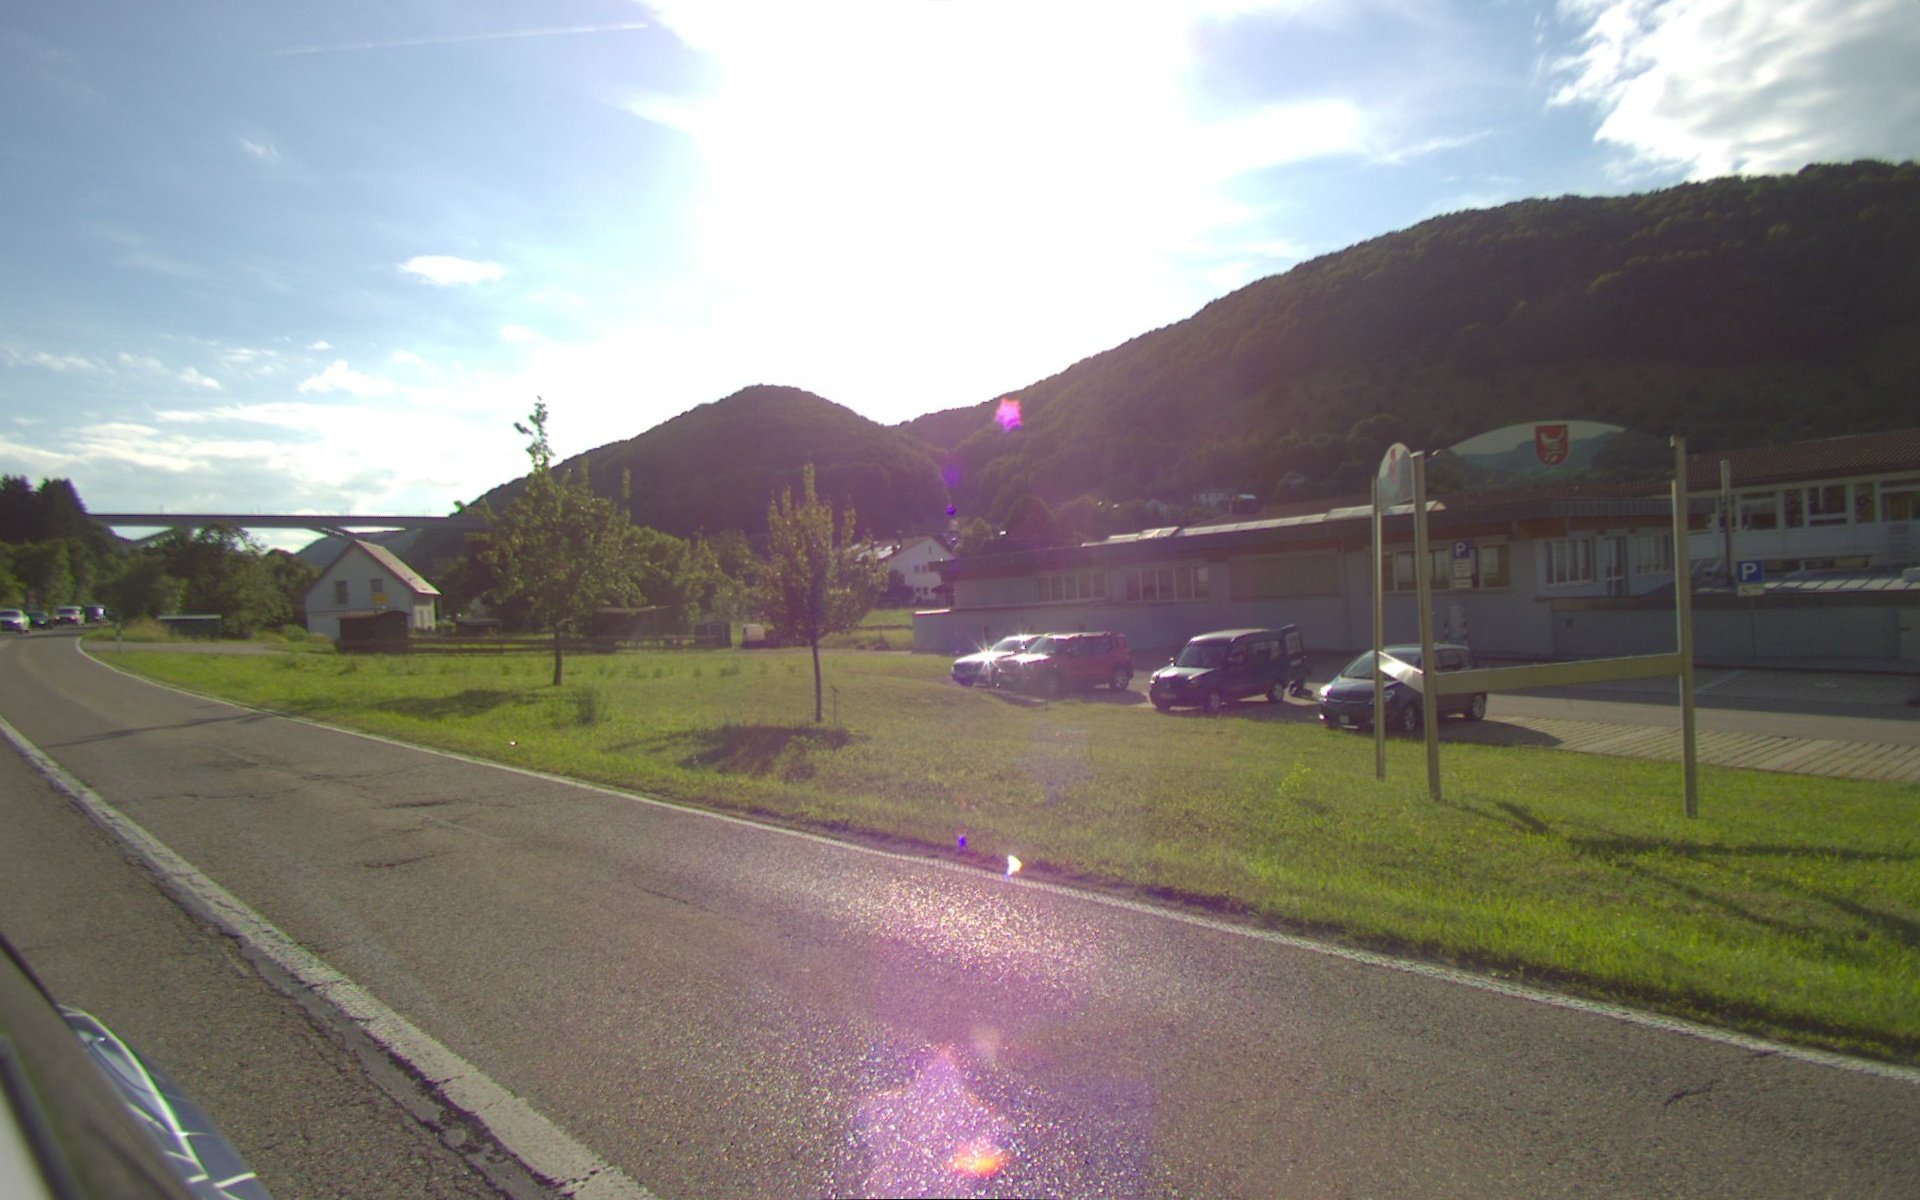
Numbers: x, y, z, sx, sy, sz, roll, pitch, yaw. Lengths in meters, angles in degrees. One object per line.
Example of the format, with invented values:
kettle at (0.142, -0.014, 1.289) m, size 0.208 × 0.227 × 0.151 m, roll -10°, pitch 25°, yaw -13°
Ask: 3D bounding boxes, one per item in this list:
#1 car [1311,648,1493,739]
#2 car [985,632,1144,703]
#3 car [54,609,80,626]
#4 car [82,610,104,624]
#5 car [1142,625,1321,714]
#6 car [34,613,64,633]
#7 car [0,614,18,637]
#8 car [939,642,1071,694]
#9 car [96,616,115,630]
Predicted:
car at (8.864, 1.788, 20.173) m, size 3.957 × 1.463 × 1.687 m, roll -1°, pitch -2°, yaw -40°
car at (2.993, 1.839, 28.680) m, size 4.263 × 1.682 × 1.853 m, roll -1°, pitch 0°, yaw -34°
car at (-82.296, 1.625, 93.256) m, size 1.607 × 1.490 × 3.683 m, roll -1°, pitch 0°, yaw -43°
car at (-90.591, 1.764, 105.774) m, size 1.605 × 1.490 × 3.686 m, roll -1°, pitch 0°, yaw -39°
car at (6.686, 1.592, 24.629) m, size 4.929 × 1.807 × 1.687 m, roll -1°, pitch 0°, yaw -40°
car at (-72.395, 1.832, 80.444) m, size 1.605 × 1.490 × 3.686 m, roll -1°, pitch 0°, yaw -39°
car at (-63.583, 1.694, 66.971) m, size 3.680 × 1.490 × 1.608 m, roll -1°, pitch 0°, yaw 44°
car at (1.425, 2.060, 31.417) m, size 3.835 × 1.379 × 1.857 m, roll 0°, pitch 0°, yaw -37°
car at (-97.799, 2.578, 115.817) m, size 1.605 × 1.490 × 3.686 m, roll -1°, pitch 0°, yaw -39°
